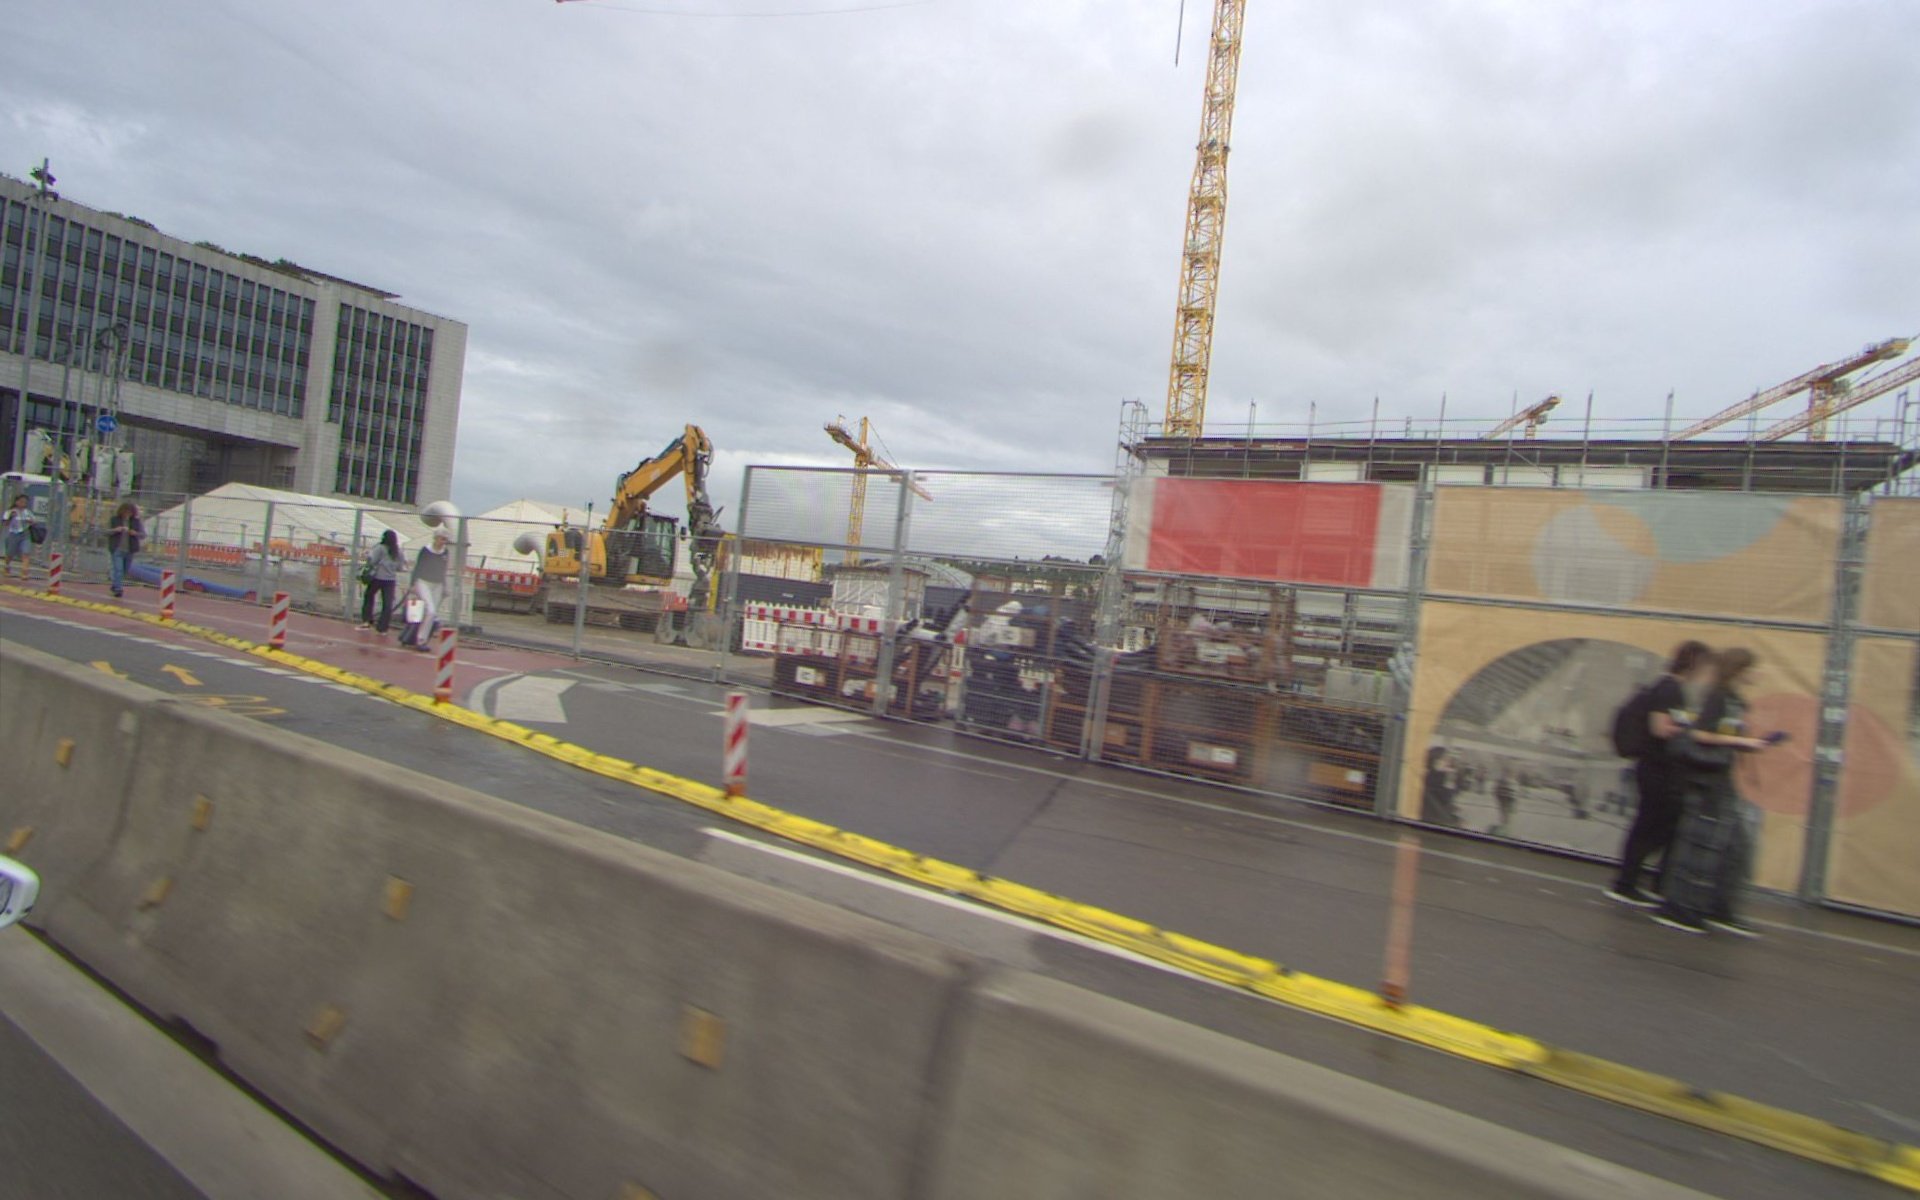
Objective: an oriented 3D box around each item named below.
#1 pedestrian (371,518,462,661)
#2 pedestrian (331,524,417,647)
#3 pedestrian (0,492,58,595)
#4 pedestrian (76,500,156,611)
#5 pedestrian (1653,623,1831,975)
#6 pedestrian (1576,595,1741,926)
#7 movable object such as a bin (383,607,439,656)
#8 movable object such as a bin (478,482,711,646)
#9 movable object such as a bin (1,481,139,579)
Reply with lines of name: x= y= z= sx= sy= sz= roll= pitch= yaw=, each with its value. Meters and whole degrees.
pedestrian: x=-7.571 y=-0.134 z=14.035 sx=0.671 sy=1.884 sz=0.666 roll=6 pitch=-1 yaw=27
pedestrian: x=-9.556 y=-0.222 z=16.414 sx=0.671 sy=1.884 sz=0.789 roll=6 pitch=-1 yaw=27
pedestrian: x=-18.557 y=-1.115 z=19.783 sx=0.933 sy=1.884 sz=0.781 roll=6 pitch=-1 yaw=27
pedestrian: x=-15.358 y=-0.802 z=18.306 sx=0.797 sy=1.884 sz=0.691 roll=6 pitch=-1 yaw=27
pedestrian: x=4.576 y=1.117 z=5.942 sx=0.616 sy=1.855 sz=0.797 roll=5 pitch=-1 yaw=32
pedestrian: x=4.696 y=1.044 z=6.820 sx=0.675 sy=2.038 sz=0.680 roll=7 pitch=0 yaw=32
movable object such as a bin: x=-7.940 y=0.461 z=14.565 sx=0.525 sy=0.632 sz=0.434 roll=6 pitch=-1 yaw=27
movable object such as a bin: x=-9.443 y=-0.896 z=25.977 sx=4.300 sy=3.534 sz=3.919 roll=5 pitch=-1 yaw=44
movable object such as a bin: x=-43.680 y=-3.387 z=49.476 sx=3.626 sy=4.077 sz=3.101 roll=6 pitch=-2 yaw=8
